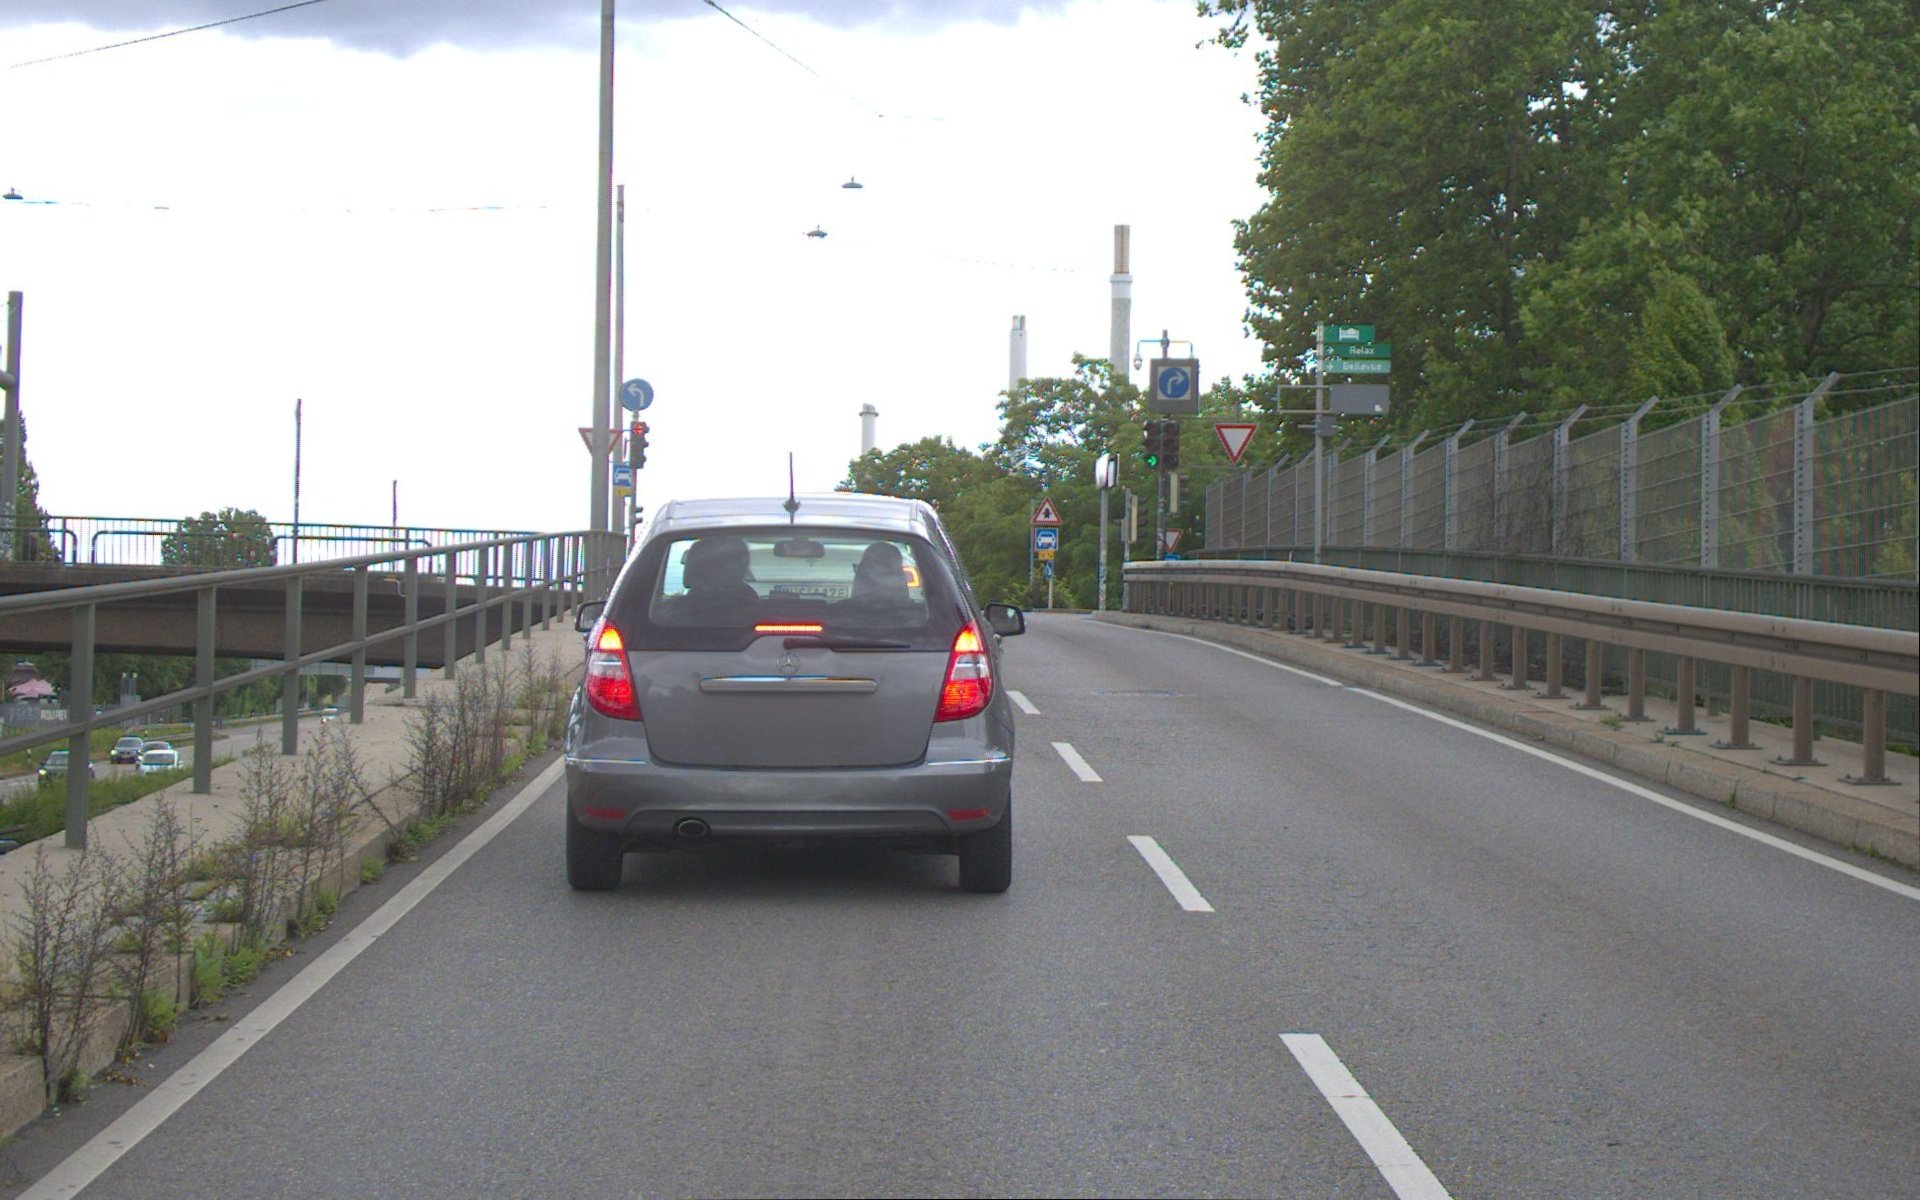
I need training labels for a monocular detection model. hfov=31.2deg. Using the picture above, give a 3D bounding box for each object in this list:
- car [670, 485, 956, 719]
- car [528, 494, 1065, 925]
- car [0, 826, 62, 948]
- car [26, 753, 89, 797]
[{"bbox_3d":[-1.069,-0.051,25.954,1.993,1.597,4.001,0,2,-1],"label":"car"},{"bbox_3d":[-0.556,0.376,14.846,1.750,1.575,4.084,1,1,5],"label":"car"},{"bbox_3d":[-15.447,4.486,53.992,1.681,1.730,3.998,0,-2,-1],"label":"car"},{"bbox_3d":[-37.240,7.219,141.901,1.993,1.683,4.001,0,-1,-7],"label":"car"}]
